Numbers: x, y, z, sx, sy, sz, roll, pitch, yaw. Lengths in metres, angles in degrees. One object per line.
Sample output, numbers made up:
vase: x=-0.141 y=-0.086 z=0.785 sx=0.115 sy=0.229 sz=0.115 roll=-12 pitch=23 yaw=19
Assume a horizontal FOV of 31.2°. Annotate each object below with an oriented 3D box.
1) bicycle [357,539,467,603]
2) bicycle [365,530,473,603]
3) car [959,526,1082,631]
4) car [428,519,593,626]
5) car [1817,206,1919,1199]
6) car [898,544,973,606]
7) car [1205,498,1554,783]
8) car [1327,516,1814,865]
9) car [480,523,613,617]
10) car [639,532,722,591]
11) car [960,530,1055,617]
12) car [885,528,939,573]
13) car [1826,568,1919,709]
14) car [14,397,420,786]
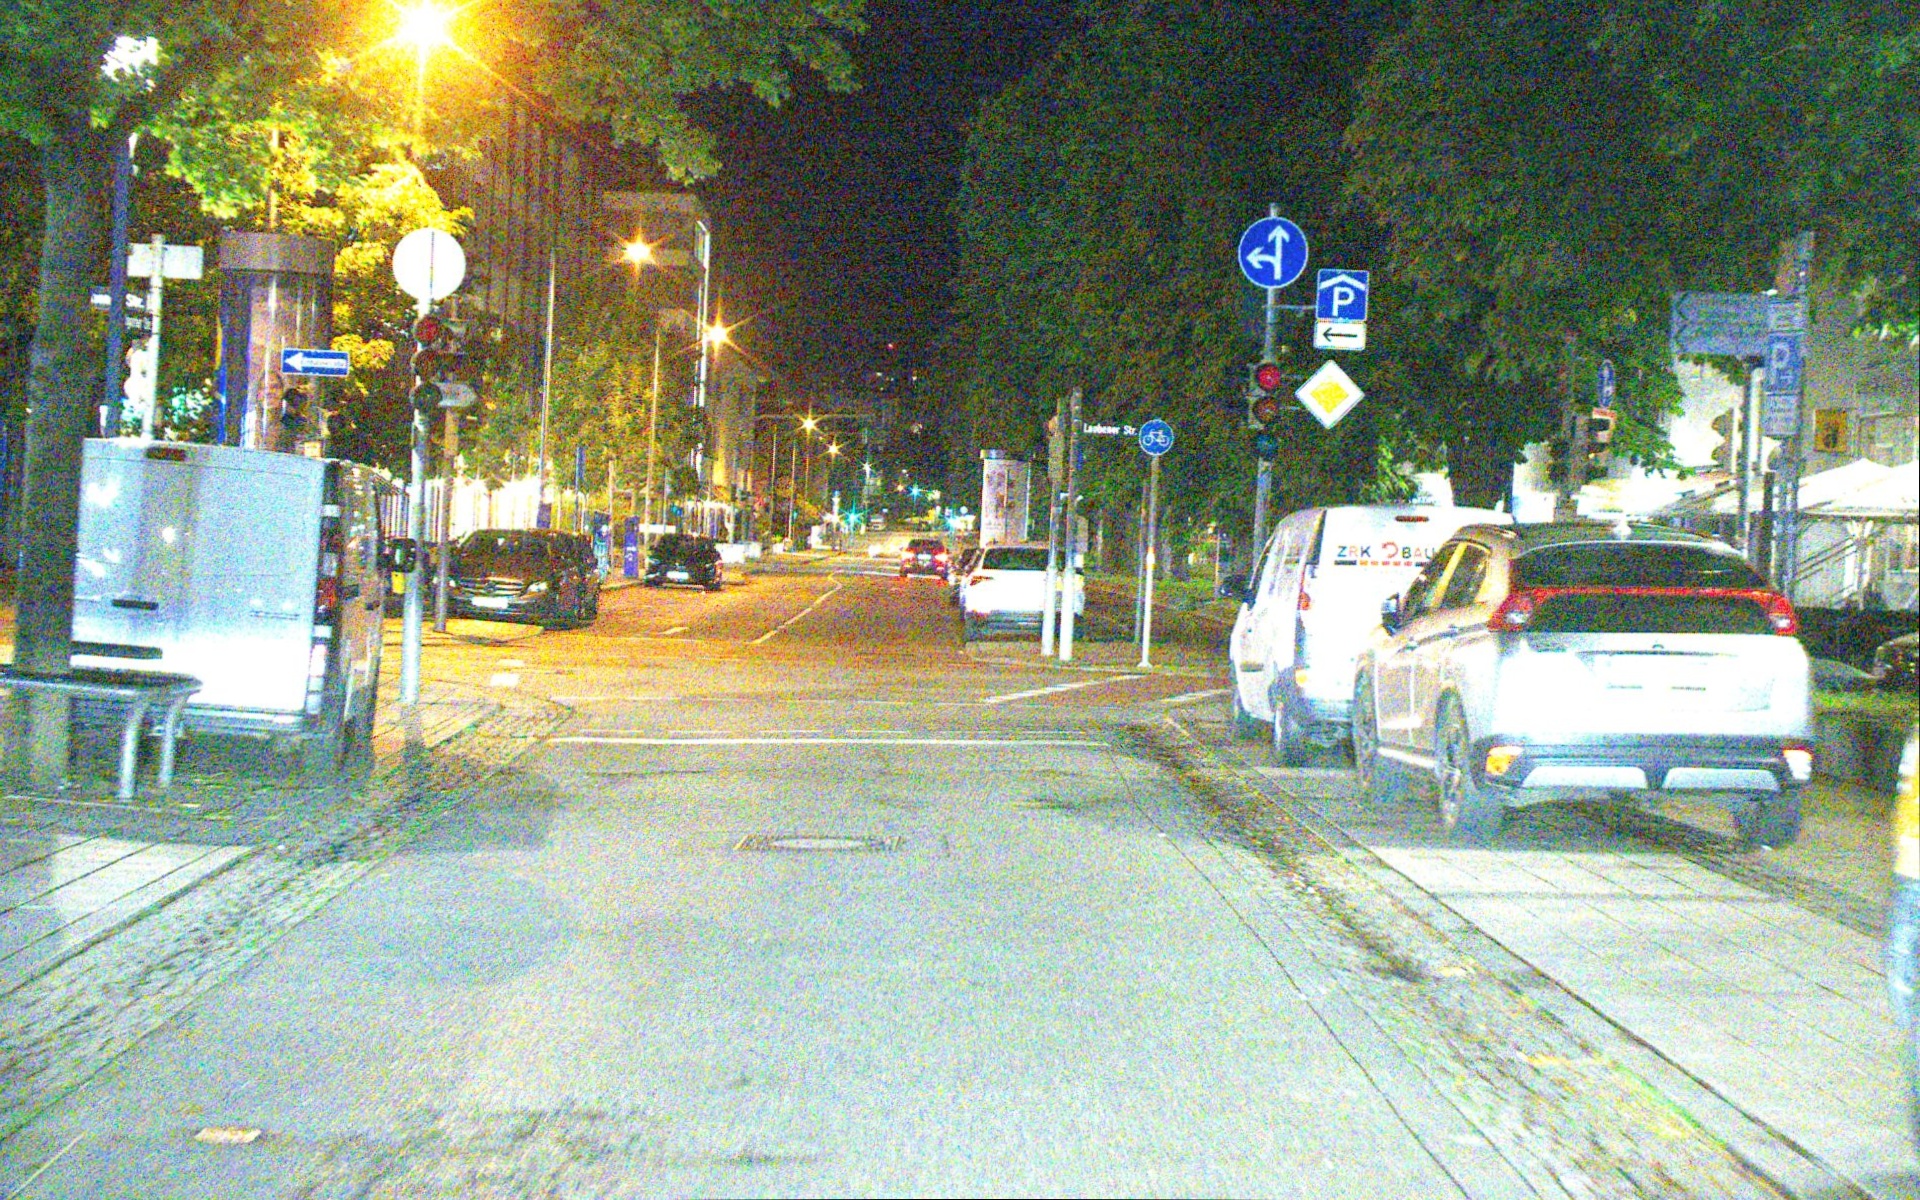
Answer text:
bicycle: x=-9.969 y=-0.532 z=62.550 sx=1.851 sy=1.031 sz=0.533 roll=4 pitch=1 yaw=-1
bicycle: x=-9.949 y=-0.617 z=63.231 sx=1.850 sy=1.249 sz=0.533 roll=2 pitch=1 yaw=-1
car: x=0.886 y=-0.357 z=52.496 sx=1.770 sy=1.531 sz=4.217 roll=1 pitch=1 yaw=0
car: x=-6.827 y=-0.452 z=52.656 sx=1.806 sy=1.420 sz=4.921 roll=5 pitch=1 yaw=-1
car: x=3.353 y=0.307 z=6.163 sx=2.134 sy=2.318 sz=5.152 roll=2 pitch=1 yaw=-2
car: x=-0.579 y=-0.635 z=85.008 sx=1.764 sy=1.409 sz=4.808 roll=2 pitch=1 yaw=0
car: x=2.928 y=0.220 z=24.959 sx=1.789 sy=1.816 sz=4.580 roll=2 pitch=1 yaw=-2
car: x=3.216 y=0.397 z=18.961 sx=1.684 sy=1.653 sz=4.298 roll=2 pitch=1 yaw=-3
car: x=-7.036 y=-0.542 z=58.823 sx=1.722 sy=1.423 sz=3.977 roll=5 pitch=1 yaw=0
car: x=-7.350 y=-1.047 z=90.831 sx=1.741 sy=1.408 sz=4.496 roll=4 pitch=1 yaw=0
car: x=0.885 y=-0.531 z=66.094 sx=1.689 sy=1.531 sz=4.016 roll=3 pitch=1 yaw=0
car: x=-1.839 y=-1.895 z=131.605 sx=1.993 sy=1.637 sz=4.000 roll=2 pitch=1 yaw=-1
car: x=12.092 y=0.489 z=38.400 sx=4.315 sy=1.526 sz=1.803 roll=2 pitch=0 yaw=-1
car: x=-4.629 y=-0.102 z=22.131 sx=1.852 sy=2.080 sz=5.092 roll=4 pitch=1 yaw=-6
